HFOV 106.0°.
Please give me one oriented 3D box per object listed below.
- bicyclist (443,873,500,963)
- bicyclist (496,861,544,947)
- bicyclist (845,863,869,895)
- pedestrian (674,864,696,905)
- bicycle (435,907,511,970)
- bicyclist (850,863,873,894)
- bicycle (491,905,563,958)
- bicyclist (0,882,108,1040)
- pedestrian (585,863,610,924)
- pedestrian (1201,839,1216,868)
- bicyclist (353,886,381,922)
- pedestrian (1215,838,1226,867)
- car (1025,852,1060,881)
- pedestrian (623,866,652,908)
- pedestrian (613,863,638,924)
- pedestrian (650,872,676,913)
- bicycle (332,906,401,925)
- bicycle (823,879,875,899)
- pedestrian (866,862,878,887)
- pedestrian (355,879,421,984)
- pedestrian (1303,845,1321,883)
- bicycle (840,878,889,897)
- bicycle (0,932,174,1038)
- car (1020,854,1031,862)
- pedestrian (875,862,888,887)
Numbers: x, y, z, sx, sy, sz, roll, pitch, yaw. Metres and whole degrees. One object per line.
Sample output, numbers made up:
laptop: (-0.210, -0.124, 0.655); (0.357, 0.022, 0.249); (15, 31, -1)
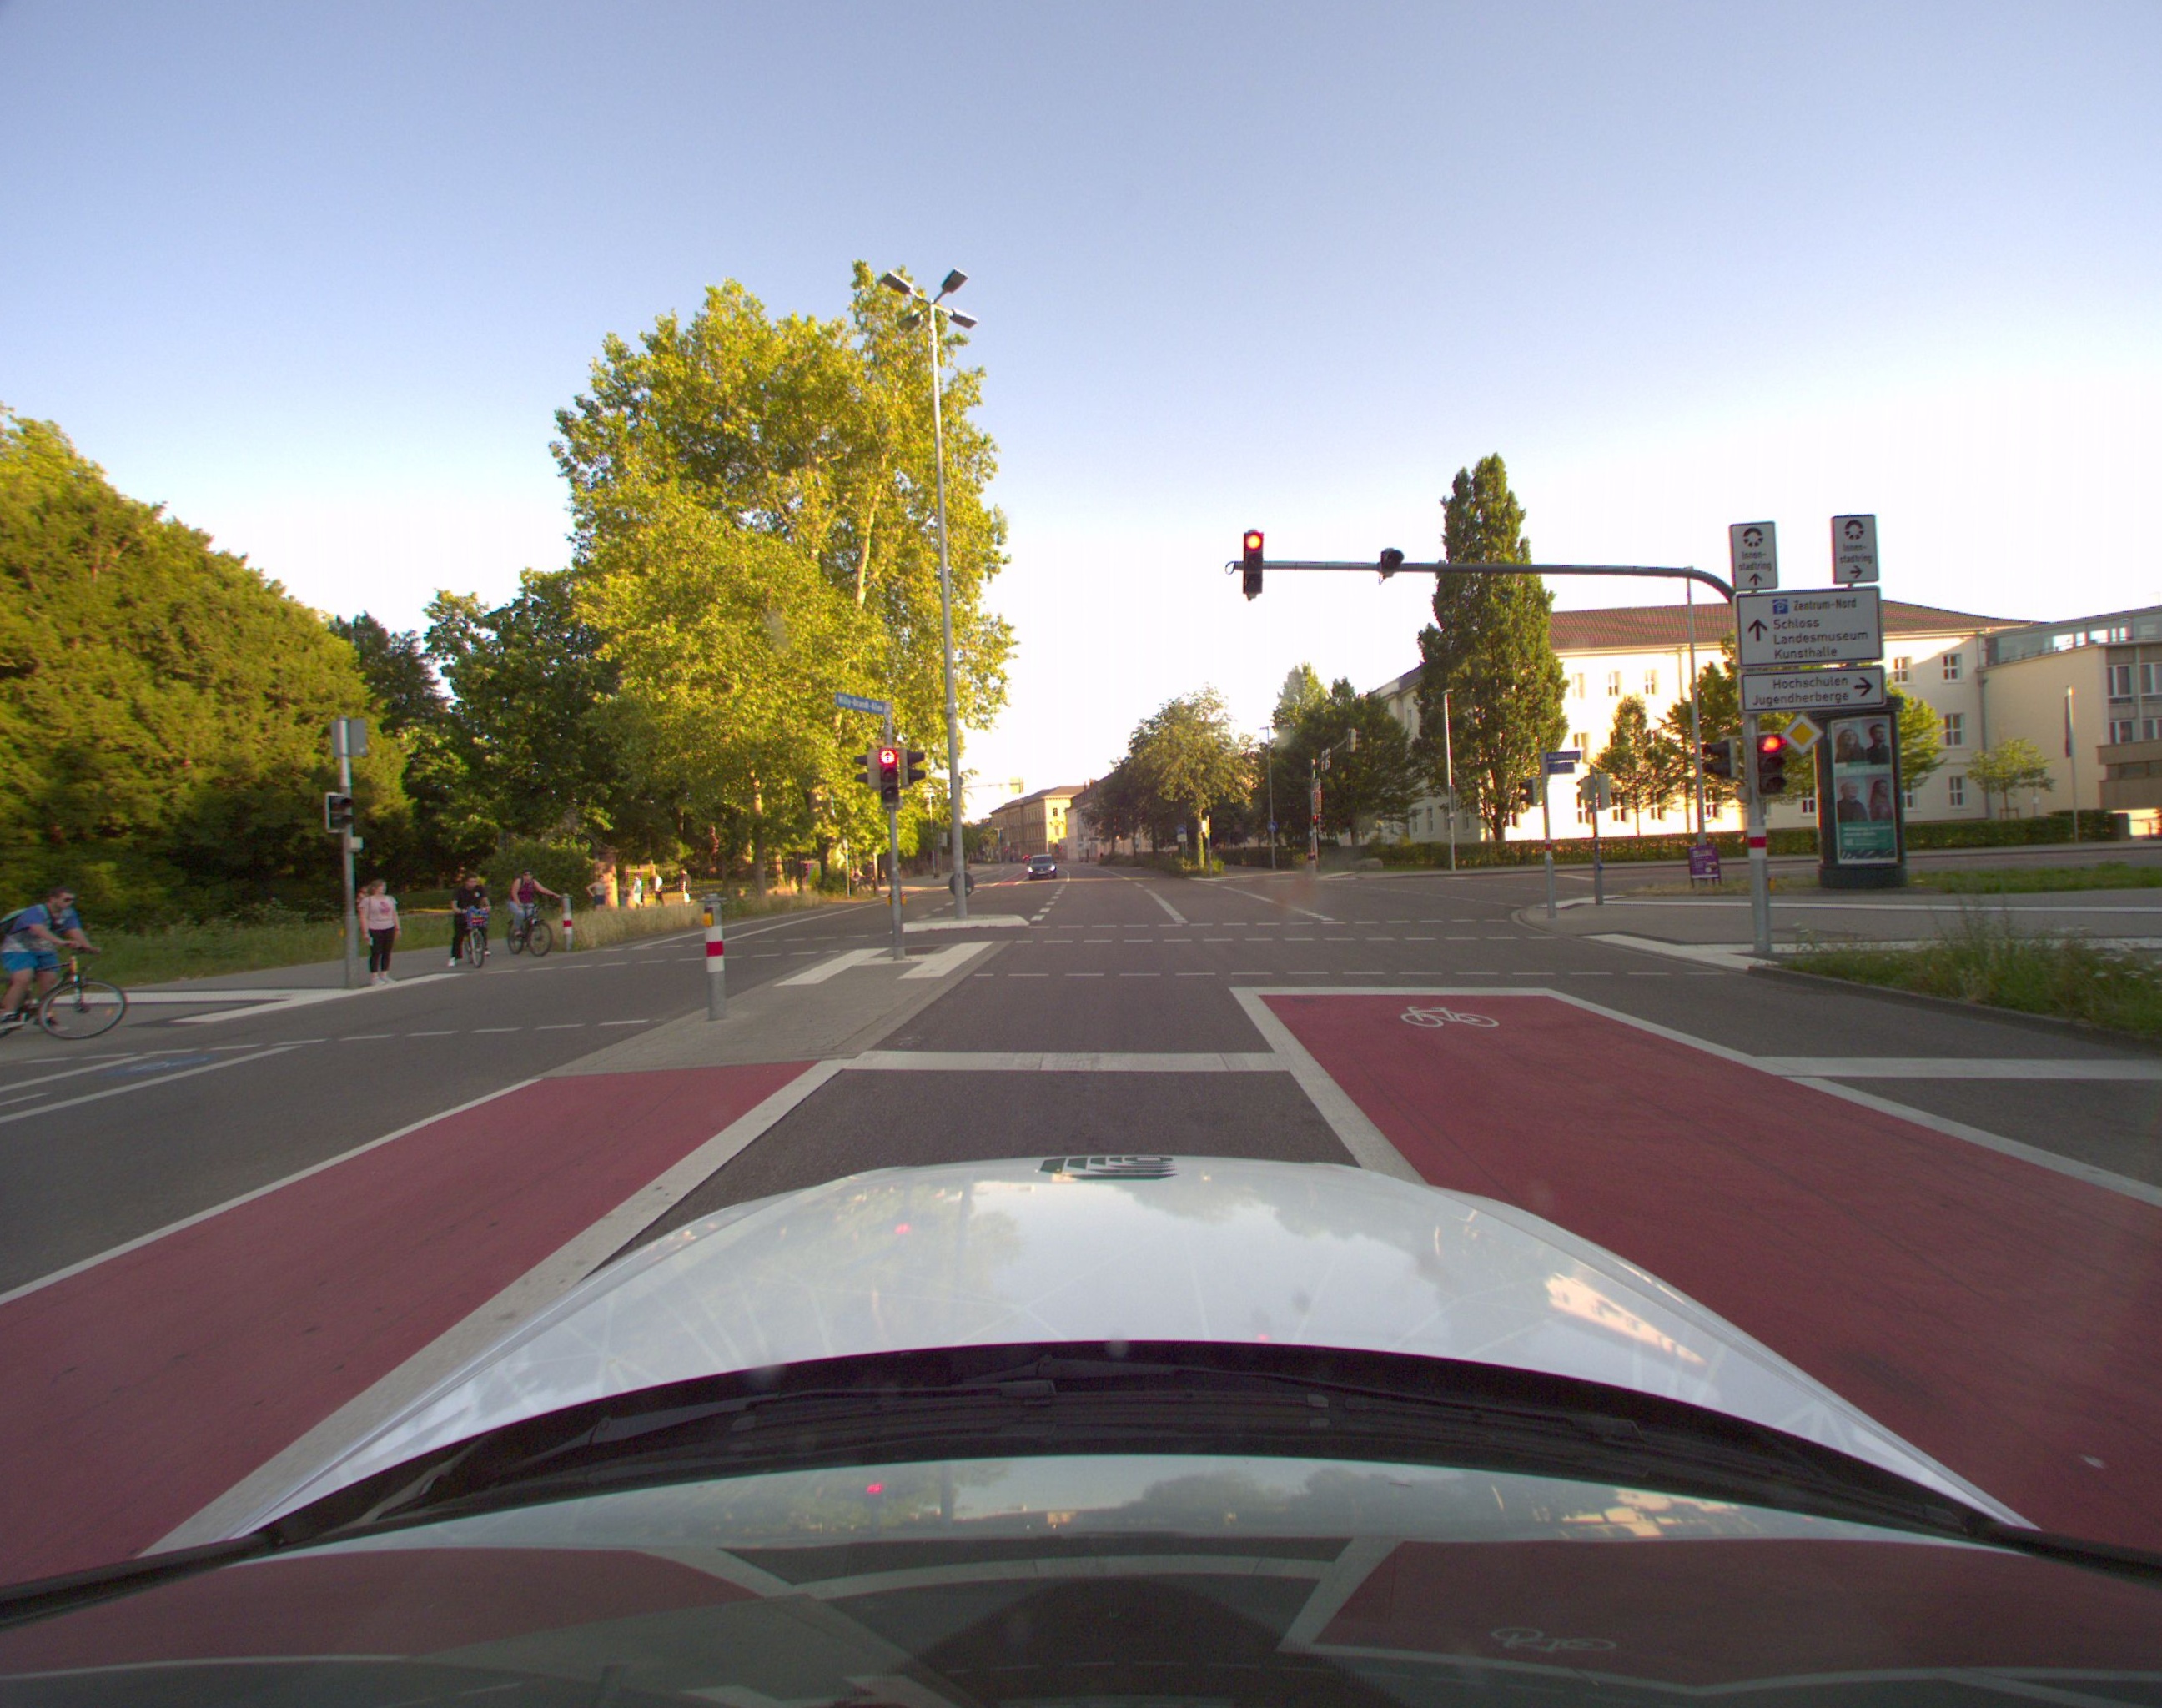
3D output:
bicyclist: (-11.775, 1.221, 15.733); (0.631, 1.649, 0.634); (-3, 0, 32)
bicyclist: (-11.968, 1.054, 17.367); (0.631, 1.780, 0.580); (-3, 0, 32)
bicyclist: (-11.752, 1.324, 42.826); (0.954, 1.631, 0.753); (-3, 0, 2)
pedestrian: (-19.725, 1.520, 40.599); (0.637, 2.013, 0.702); (-3, 0, 3)
bicycle: (-11.735, 1.605, 15.710); (1.548, 1.111, 0.637); (-3, 0, 33)
bicyclist: (-11.999, 1.331, 44.574); (0.954, 1.631, 0.753); (-3, 0, 2)
bicycle: (-11.752, 1.631, 17.271); (1.749, 1.030, 0.583); (-3, 0, 33)
bicyclist: (-12.603, 1.265, 9.868); (0.708, 1.824, 0.737); (-1, -1, -2)
pedestrian: (-16.301, 1.314, 27.452); (0.654, 2.013, 0.599); (-1, 0, -37)
pedestrian: (8.962, -0.049, 57.211); (0.867, 2.013, 0.723); (-2, 0, 1)
bicyclist: (-32.748, 2.280, 37.346); (0.646, 1.558, 0.689); (-3, 0, -11)
pedestrian: (9.882, -0.082, 57.744); (0.633, 2.013, 0.720); (-1, 0, -2)
car: (-2.555, 0.778, 54.605); (1.842, 1.720, 4.298); (-4, 0, 2)
pedestrian: (-22.137, 1.648, 40.659); (0.799, 2.013, 0.994); (-2, 0, 1)
pedestrian: (-15.442, 1.324, 27.602); (0.598, 2.013, 0.634); (-1, 0, -38)
pedestrian: (-21.257, 1.923, 41.427); (0.759, 2.013, 1.076); (-1, 0, -3)
bicycle: (-32.737, 2.815, 37.342); (2.307, 0.691, 0.666); (-3, 0, -12)
bicycle: (-12.194, 1.833, 42.823); (2.420, 0.924, 0.775); (-3, 0, 2)
pedestrian: (-13.466, 1.318, 52.557); (0.533, 1.596, 0.591); (-3, 0, 2)
pedestrian: (-11.641, 1.285, 13.695); (0.604, 1.695, 0.499); (-3, 0, 3)
pedestrian: (10.268, 0.433, 36.170); (0.597, 1.636, 0.692); (-1, 0, 3)
bicycle: (-11.857, 1.815, 44.578); (2.420, 0.924, 0.775); (-3, 0, 2)
bicycle: (-12.287, 1.566, 9.761); (2.104, 1.100, 0.774); (-3, 0, 6)
car: (-11.817, 0.843, 172.534); (1.821, 1.588, 3.983); (-4, 0, -12)
pedestrian: (-12.812, 1.302, 52.368); (0.597, 1.573, 0.646); (-3, 0, 2)
